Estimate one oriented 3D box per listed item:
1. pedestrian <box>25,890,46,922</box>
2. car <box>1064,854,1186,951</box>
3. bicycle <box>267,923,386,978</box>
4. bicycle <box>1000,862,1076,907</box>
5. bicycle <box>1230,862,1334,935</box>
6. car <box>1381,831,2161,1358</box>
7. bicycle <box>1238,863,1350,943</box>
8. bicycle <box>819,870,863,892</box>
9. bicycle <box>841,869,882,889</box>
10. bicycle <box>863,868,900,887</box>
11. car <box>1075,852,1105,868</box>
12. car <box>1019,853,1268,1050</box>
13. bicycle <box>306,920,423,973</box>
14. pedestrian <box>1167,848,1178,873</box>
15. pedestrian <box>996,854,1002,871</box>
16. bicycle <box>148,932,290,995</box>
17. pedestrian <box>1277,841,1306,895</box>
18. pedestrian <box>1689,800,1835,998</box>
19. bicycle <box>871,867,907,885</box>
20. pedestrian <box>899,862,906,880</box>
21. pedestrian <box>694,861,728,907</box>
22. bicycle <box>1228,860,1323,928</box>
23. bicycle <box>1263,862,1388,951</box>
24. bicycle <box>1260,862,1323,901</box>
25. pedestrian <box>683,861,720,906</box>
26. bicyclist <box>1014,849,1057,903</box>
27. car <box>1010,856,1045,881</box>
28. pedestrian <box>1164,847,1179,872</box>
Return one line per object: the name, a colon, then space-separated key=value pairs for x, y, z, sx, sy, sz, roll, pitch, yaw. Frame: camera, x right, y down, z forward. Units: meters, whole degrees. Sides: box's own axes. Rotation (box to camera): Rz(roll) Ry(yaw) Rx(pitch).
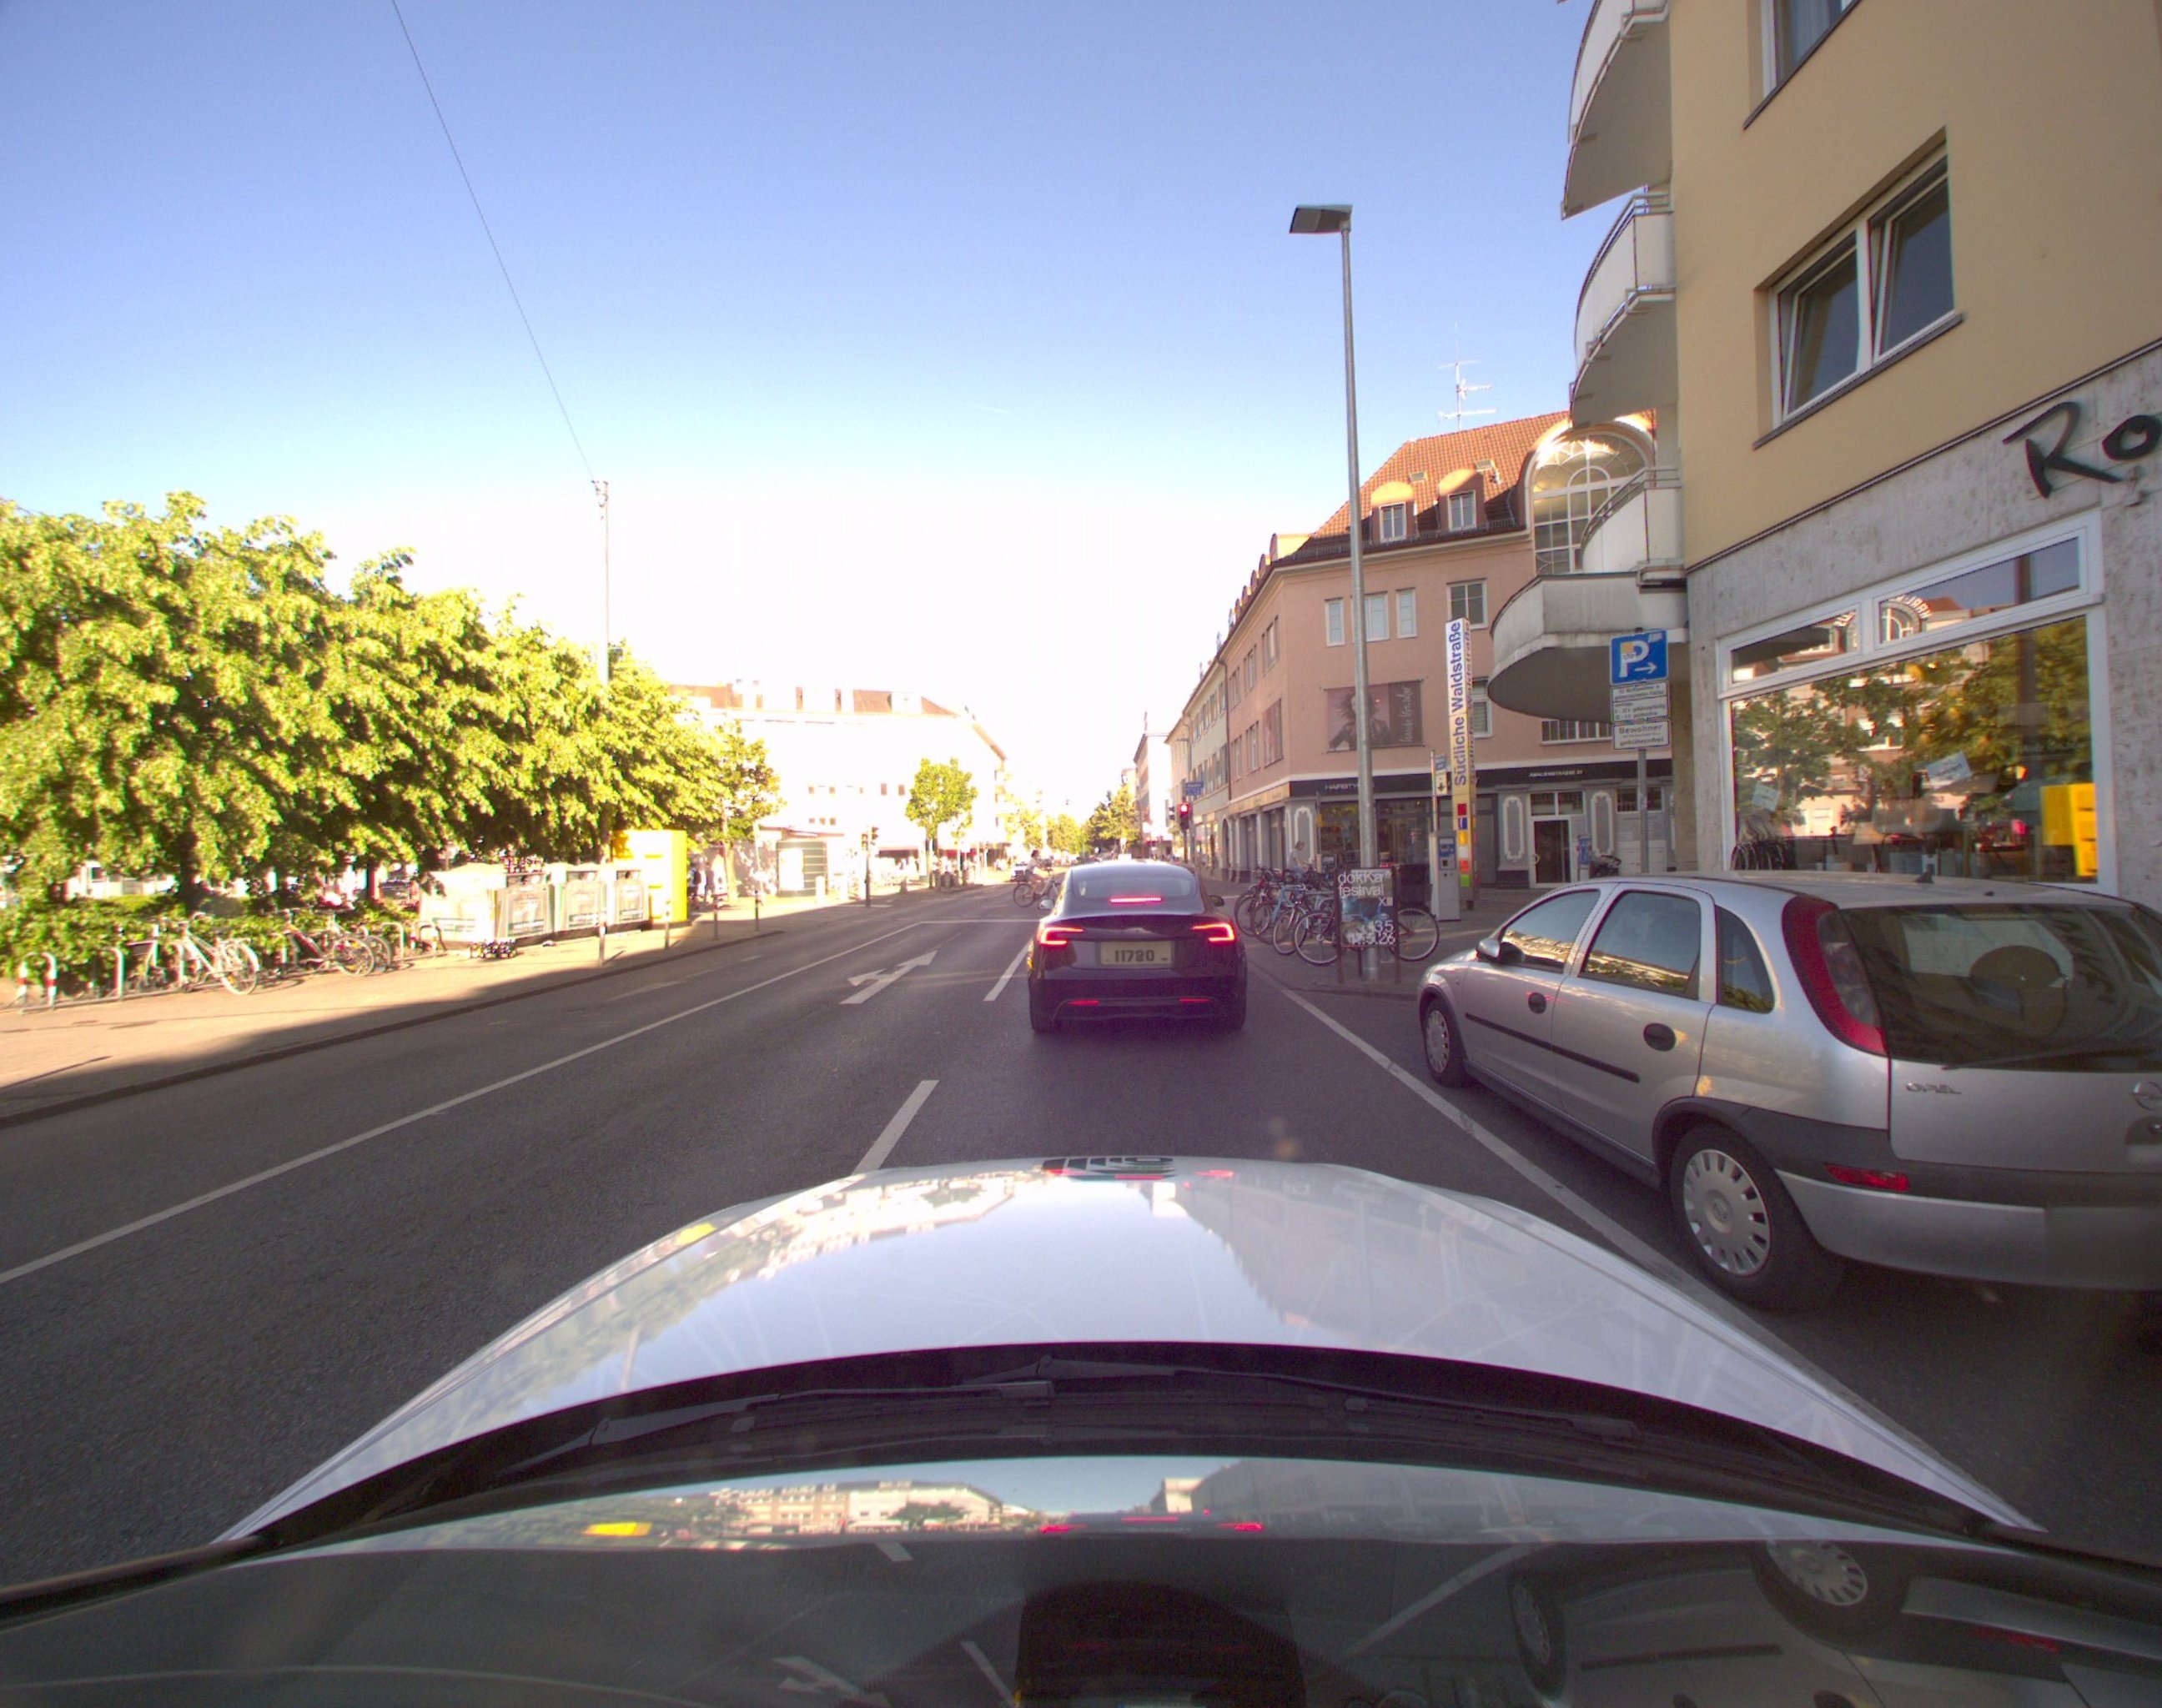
pedestrian: x=-59.977 y=2.989 z=46.722 sx=0.576 sy=1.792 sz=0.604 roll=-1 pitch=-1 yaw=19
car: x=0.762 y=0.746 z=14.386 sx=1.842 sy=1.455 sz=3.788 roll=-1 pitch=0 yaw=3
bicycle: x=-11.308 y=1.441 z=12.223 sx=1.465 sy=0.769 sz=0.442 roll=-1 pitch=-1 yaw=6
bicycle: x=-1.298 y=0.919 z=24.417 sx=2.108 sy=1.200 sz=0.631 roll=-4 pitch=-1 yaw=18
bicycle: x=3.461 y=0.760 z=14.084 sx=1.622 sy=1.160 sz=0.433 roll=-3 pitch=0 yaw=0
car: x=2.969 y=0.640 z=4.108 sx=1.615 sy=1.394 sz=3.888 roll=-1 pitch=0 yaw=3
bicycle: x=3.374 y=0.769 z=12.951 sx=1.622 sy=1.160 sz=0.433 roll=-3 pitch=0 yaw=0
bicycle: x=-12.826 y=1.420 z=43.589 sx=2.075 sy=1.104 sz=0.806 roll=-1 pitch=0 yaw=1
bicycle: x=-12.408 y=1.409 z=46.101 sx=2.075 sy=1.104 sz=0.806 roll=-1 pitch=0 yaw=1
bicycle: x=-12.454 y=1.449 z=50.880 sx=2.075 sy=1.104 sz=0.806 roll=-1 pitch=0 yaw=1
car: x=0.986 y=0.653 z=87.852 sx=2.054 sy=1.727 sz=4.630 roll=-1 pitch=0 yaw=-15
car: x=0.558 y=0.742 z=8.038 sx=1.842 sy=1.455 sz=3.788 roll=-1 pitch=0 yaw=3
bicycle: x=-11.237 y=1.443 z=12.781 sx=1.466 sy=0.769 sz=0.475 roll=-1 pitch=-1 yaw=4
pedestrian: x=6.721 y=0.483 z=60.008 sx=0.701 sy=1.783 sz=0.534 roll=-1 pitch=0 yaw=1
pedestrian: x=-9.373 y=0.961 z=93.074 sx=0.623 sy=2.014 sz=0.575 roll=-1 pitch=0 yaw=1
bicycle: x=-11.453 y=1.439 z=10.827 sx=1.645 sy=0.769 sz=0.476 roll=-1 pitch=-1 yaw=10
pedestrian: x=5.667 y=0.375 z=21.962 sx=0.738 sy=1.440 sz=0.584 roll=-1 pitch=-1 yaw=13
pedestrian: x=5.976 y=0.385 z=7.185 sx=0.659 sy=1.633 sz=0.629 roll=-4 pitch=-1 yaw=6
bicycle: x=-12.496 y=1.419 z=53.077 sx=2.075 sy=1.104 sz=0.806 roll=-1 pitch=0 yaw=1
pedestrian: x=-13.647 y=1.301 z=62.323 sx=0.419 sy=1.339 sz=0.393 roll=-1 pitch=0 yaw=-5
pedestrian: x=-14.159 y=1.136 z=31.206 sx=0.897 sy=1.725 sz=0.745 roll=-1 pitch=0 yaw=5
bicycle: x=3.636 y=0.749 z=15.251 sx=1.621 sy=1.160 sz=0.433 roll=-3 pitch=0 yaw=2
bicycle: x=3.503 y=0.744 z=11.732 sx=1.622 sy=1.160 sz=0.433 roll=-3 pitch=0 yaw=0
bicycle: x=5.678 y=0.738 z=21.957 sx=1.604 sy=1.045 sz=0.593 roll=-1 pitch=-1 yaw=14
pedestrian: x=-14.192 y=1.094 z=30.434 sx=0.981 sy=1.636 sz=0.738 roll=-1 pitch=0 yaw=5
bicyclist: x=-1.371 y=0.659 z=24.431 sx=1.088 sy=1.589 sz=0.631 roll=-1 pitch=0 yaw=18
car: x=-3.821 y=1.020 z=58.614 sx=1.986 sy=1.541 sz=4.002 roll=-5 pitch=0 yaw=2
pedestrian: x=6.665 y=0.420 z=60.073 sx=0.995 sy=1.850 sz=0.615 roll=-1 pitch=0 yaw=1
